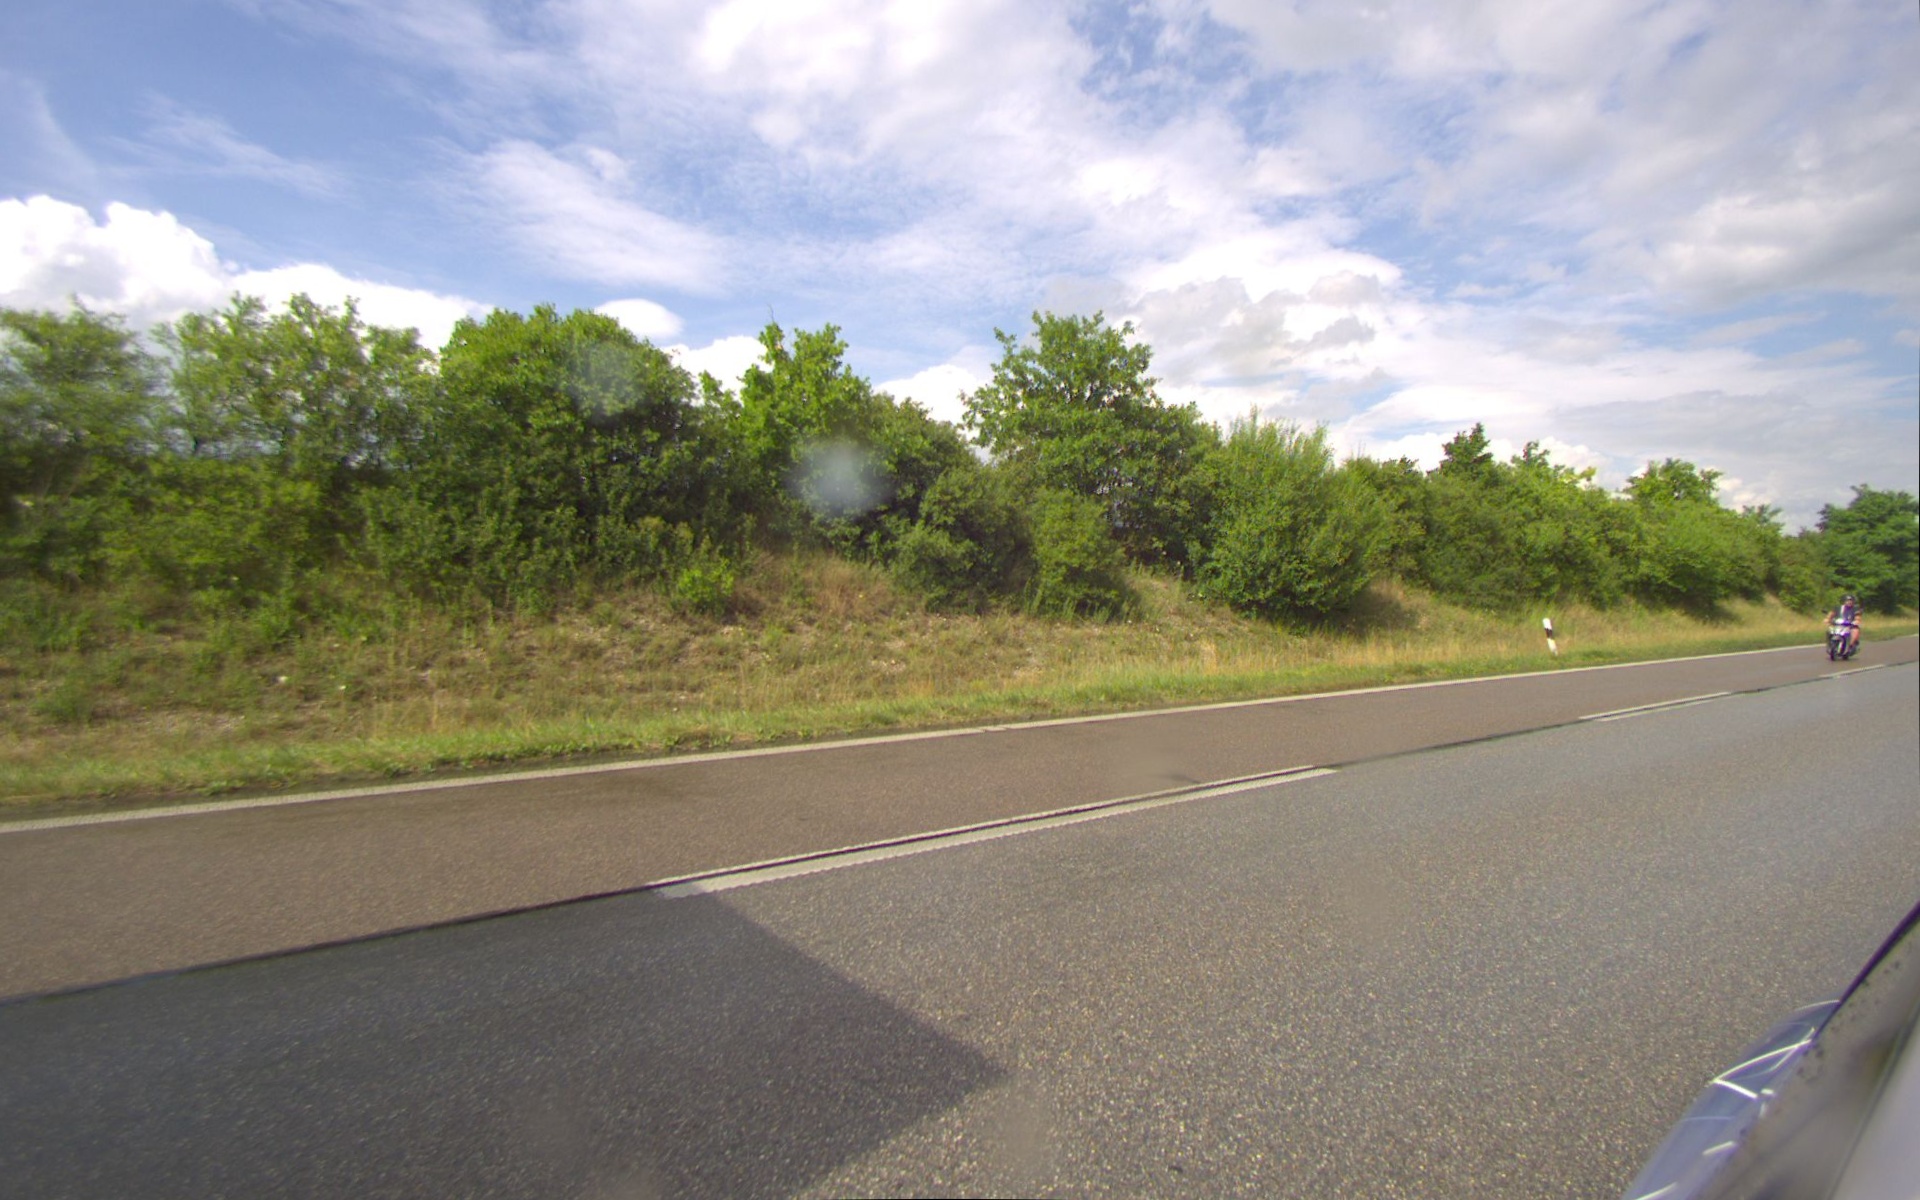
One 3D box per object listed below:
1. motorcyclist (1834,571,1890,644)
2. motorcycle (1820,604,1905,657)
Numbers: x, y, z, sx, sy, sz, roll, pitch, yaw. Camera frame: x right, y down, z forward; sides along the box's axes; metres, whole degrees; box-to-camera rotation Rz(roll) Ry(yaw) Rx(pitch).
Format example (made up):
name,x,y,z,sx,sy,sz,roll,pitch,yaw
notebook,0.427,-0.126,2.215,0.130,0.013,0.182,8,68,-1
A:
name,x,y,z,sx,sy,sz,roll,pitch,yaw
motorcyclist,22.041,0.172,24.732,0.983,1.728,0.882,-1,0,-40
motorcycle,22.188,0.718,24.853,3.139,1.163,1.186,-1,0,-41
